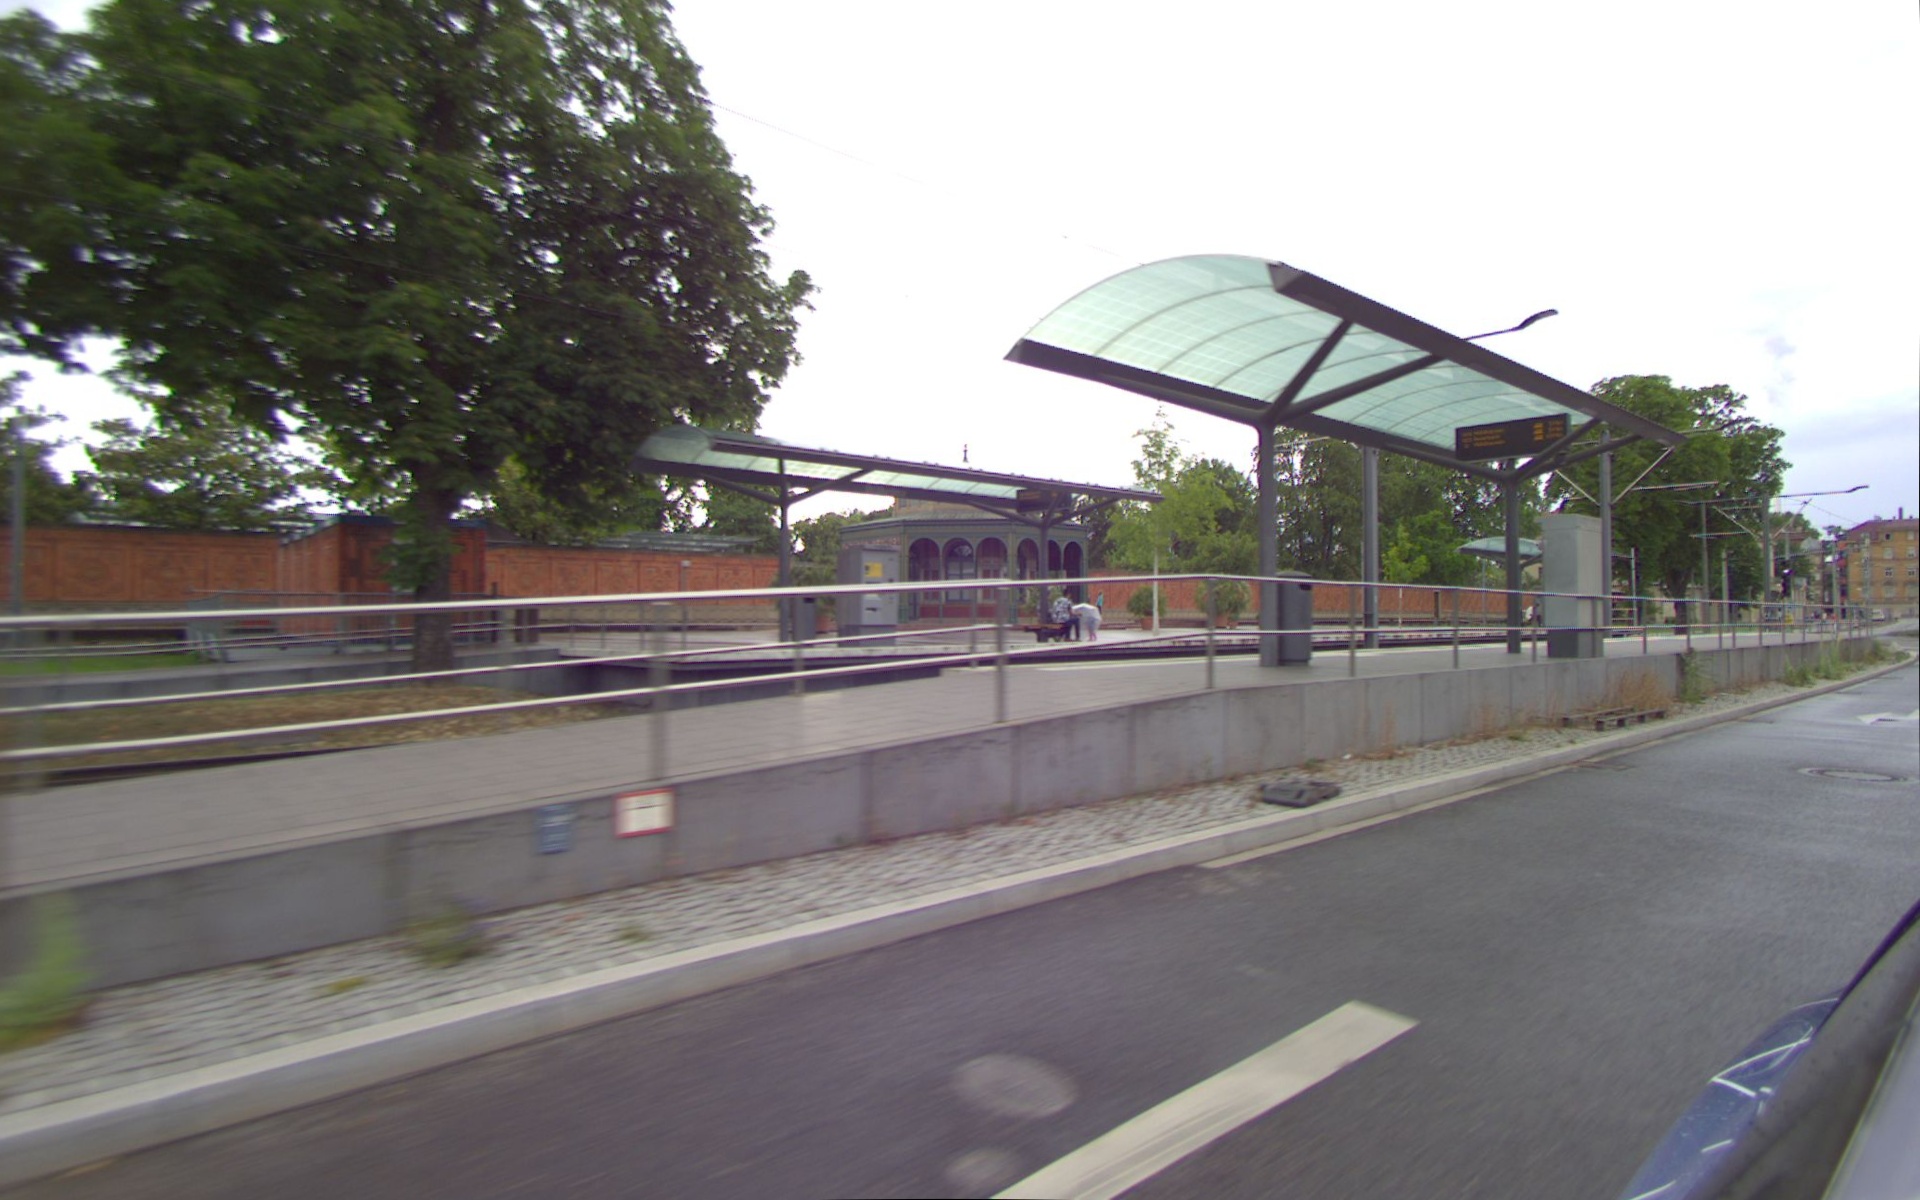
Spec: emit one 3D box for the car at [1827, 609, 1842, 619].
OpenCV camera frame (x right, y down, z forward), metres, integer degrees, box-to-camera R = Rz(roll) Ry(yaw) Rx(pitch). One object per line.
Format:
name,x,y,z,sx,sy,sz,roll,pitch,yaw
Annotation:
car,148.335,2.341,171.605,1.825,1.603,3.938,-1,-1,42

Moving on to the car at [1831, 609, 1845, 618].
car,155.683,2.348,179.439,1.825,1.603,3.938,-1,-1,42

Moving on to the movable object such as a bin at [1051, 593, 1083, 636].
movable object such as a bin,2.633,0.355,24.855,0.670,1.021,0.438,1,-1,-40

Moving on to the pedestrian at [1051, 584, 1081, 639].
pedestrian,2.452,0.258,23.354,0.541,1.241,0.438,1,-1,-40

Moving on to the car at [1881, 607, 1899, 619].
car,140.507,1.941,152.909,1.838,1.661,4.077,-6,-4,44

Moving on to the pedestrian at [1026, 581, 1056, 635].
pedestrian,1.893,0.191,23.699,0.541,1.241,0.438,1,-1,-40

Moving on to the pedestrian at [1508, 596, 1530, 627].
pedestrian,23.568,0.476,42.670,0.770,1.229,0.518,0,-5,-45

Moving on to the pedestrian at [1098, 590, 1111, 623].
pedestrian,7.353,0.337,51.496,0.460,1.678,0.552,-1,-2,-6

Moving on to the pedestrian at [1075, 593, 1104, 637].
pedestrian,3.057,0.349,23.899,0.541,1.021,0.438,1,-1,-40

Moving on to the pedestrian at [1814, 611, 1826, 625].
pedestrian,101.634,2.153,119.620,0.654,1.611,0.867,1,0,-15

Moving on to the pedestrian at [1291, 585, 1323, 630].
pedestrian,14.030,0.305,40.907,1.161,1.813,0.722,2,-1,-41
